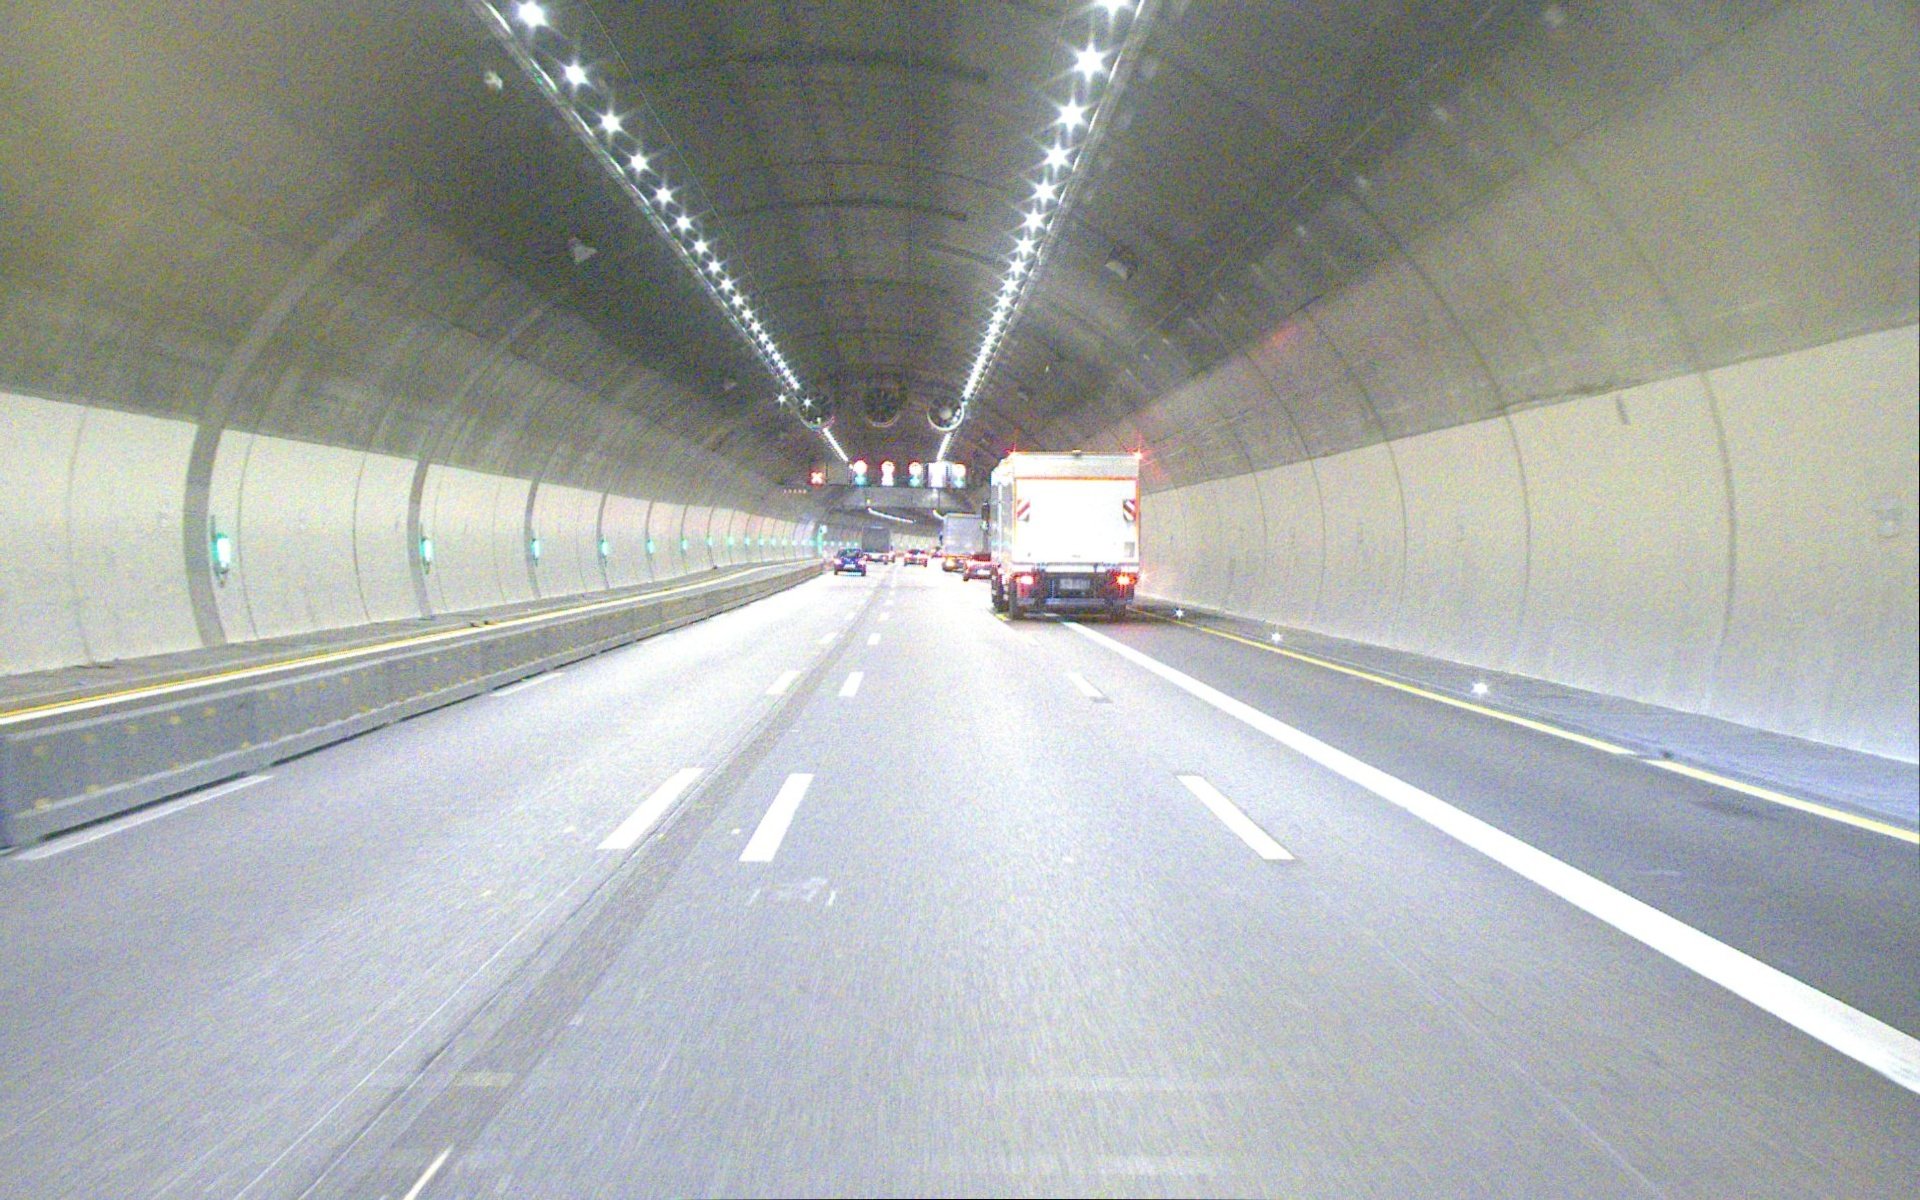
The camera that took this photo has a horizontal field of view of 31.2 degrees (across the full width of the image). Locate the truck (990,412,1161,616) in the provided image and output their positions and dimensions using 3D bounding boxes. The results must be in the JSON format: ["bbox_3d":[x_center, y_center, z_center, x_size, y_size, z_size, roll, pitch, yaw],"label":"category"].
[{"bbox_3d":[2.316,-1.705,72.795,3.092,3.904,10.368,2,0,0],"label":"truck"}]

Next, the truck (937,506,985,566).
[{"bbox_3d":[0.100,-4.399,238.338,3.066,3.904,10.367,2,0,1],"label":"truck"}]

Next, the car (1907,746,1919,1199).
[{"bbox_3d":[3.265,0.737,5.745,1.925,1.467,4.954,2,1,0],"label":"car"}]

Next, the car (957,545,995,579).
[{"bbox_3d":[0.757,-1.792,161.578,1.739,1.456,3.960,2,1,1],"label":"car"}]

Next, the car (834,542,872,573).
[{"bbox_3d":[-5.291,-2.107,170.781,1.758,1.456,4.119,2,1,0],"label":"car"}]
